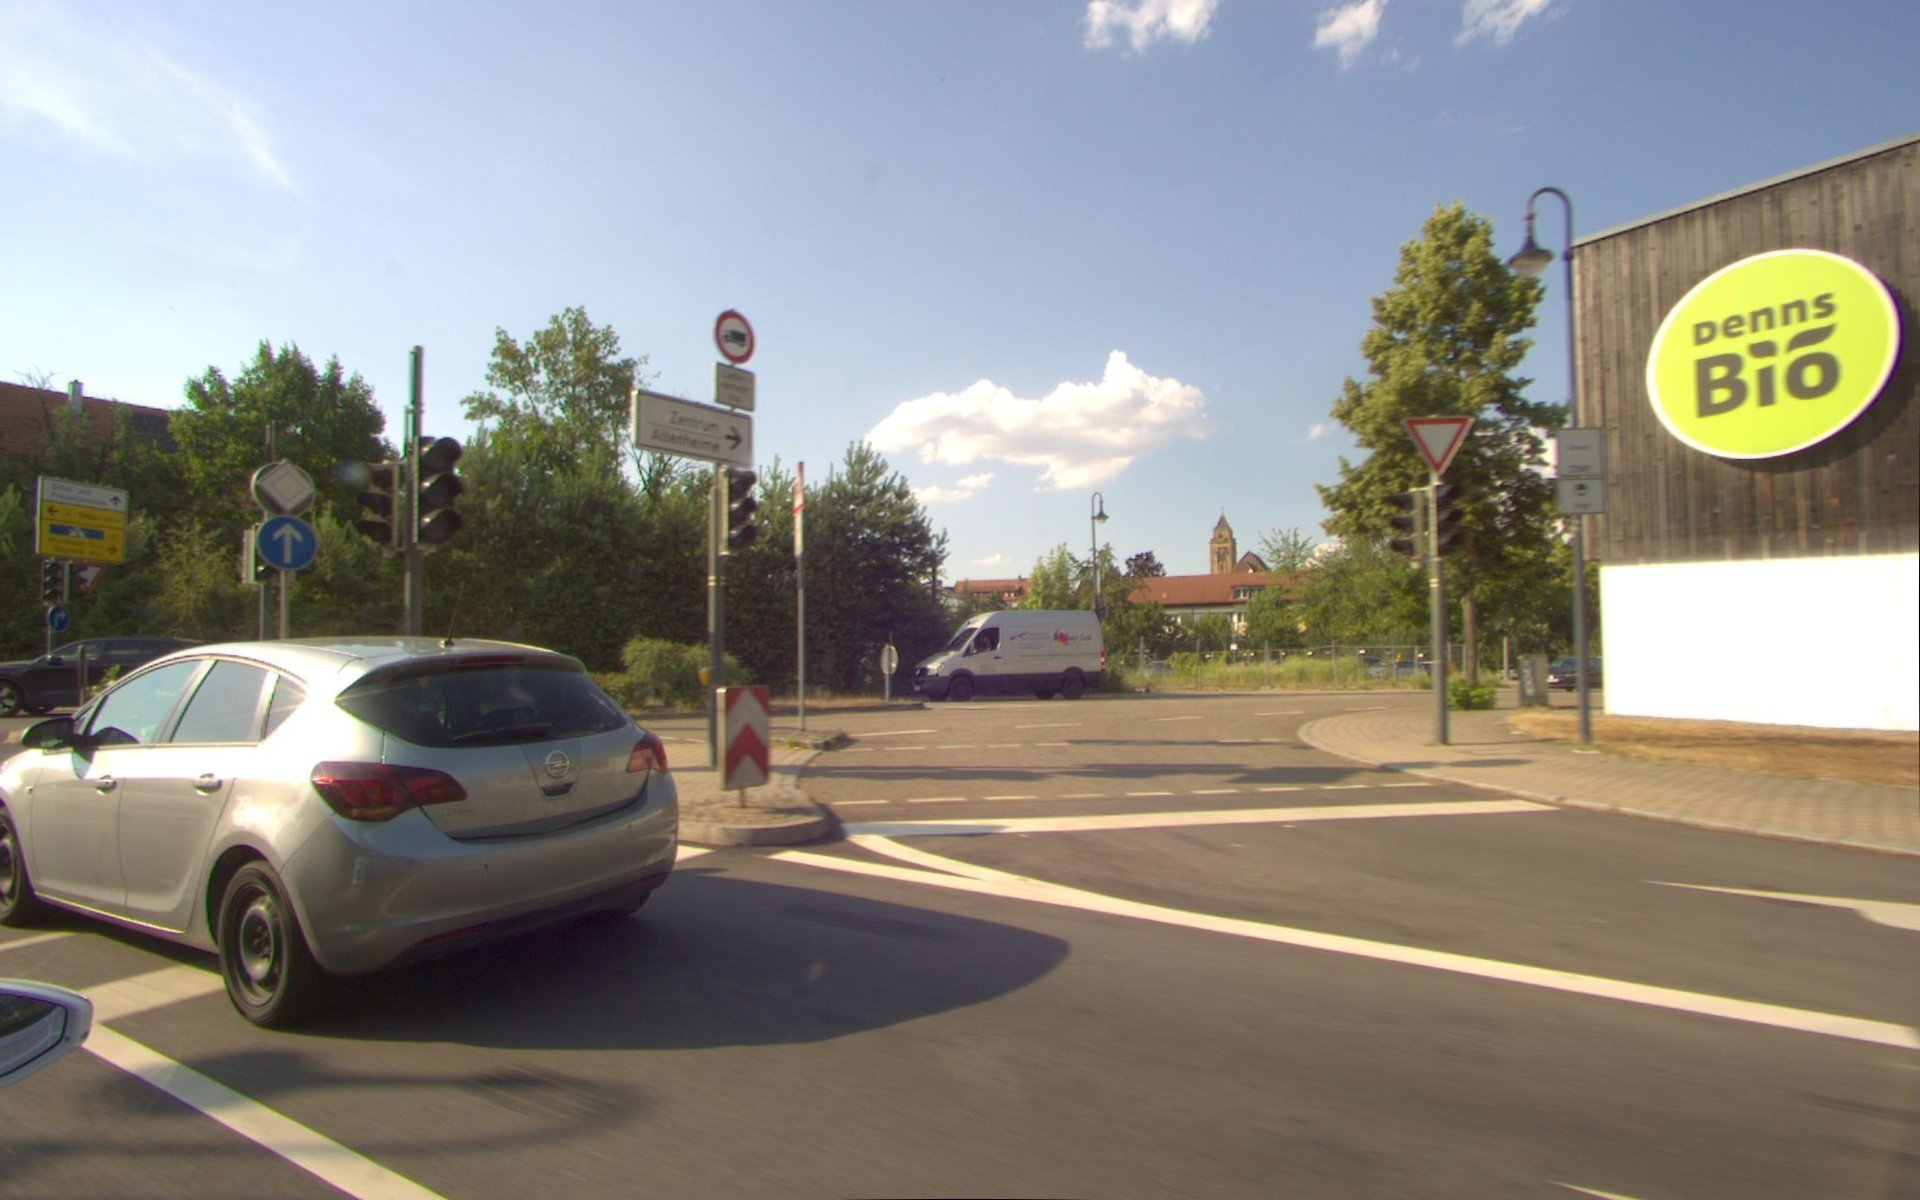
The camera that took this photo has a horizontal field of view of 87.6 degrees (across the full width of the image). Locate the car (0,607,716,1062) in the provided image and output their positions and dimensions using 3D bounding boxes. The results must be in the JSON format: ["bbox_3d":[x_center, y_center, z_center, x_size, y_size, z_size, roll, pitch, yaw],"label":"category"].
[{"bbox_3d":[-3.430,0.833,5.169,4.243,1.509,1.719,-1,-2,31],"label":"car"}]

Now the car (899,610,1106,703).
[{"bbox_3d":[1.275,1.651,29.647,5.765,2.553,2.188,1,-2,-23],"label":"car"}]

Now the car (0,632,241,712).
[{"bbox_3d":[-18.058,1.483,21.242,4.200,1.586,1.788,1,-2,-22],"label":"car"}]

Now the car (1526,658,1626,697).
[{"bbox_3d":[25.225,3.146,40.974,3.943,1.471,1.849,1,-2,-30],"label":"car"}]
